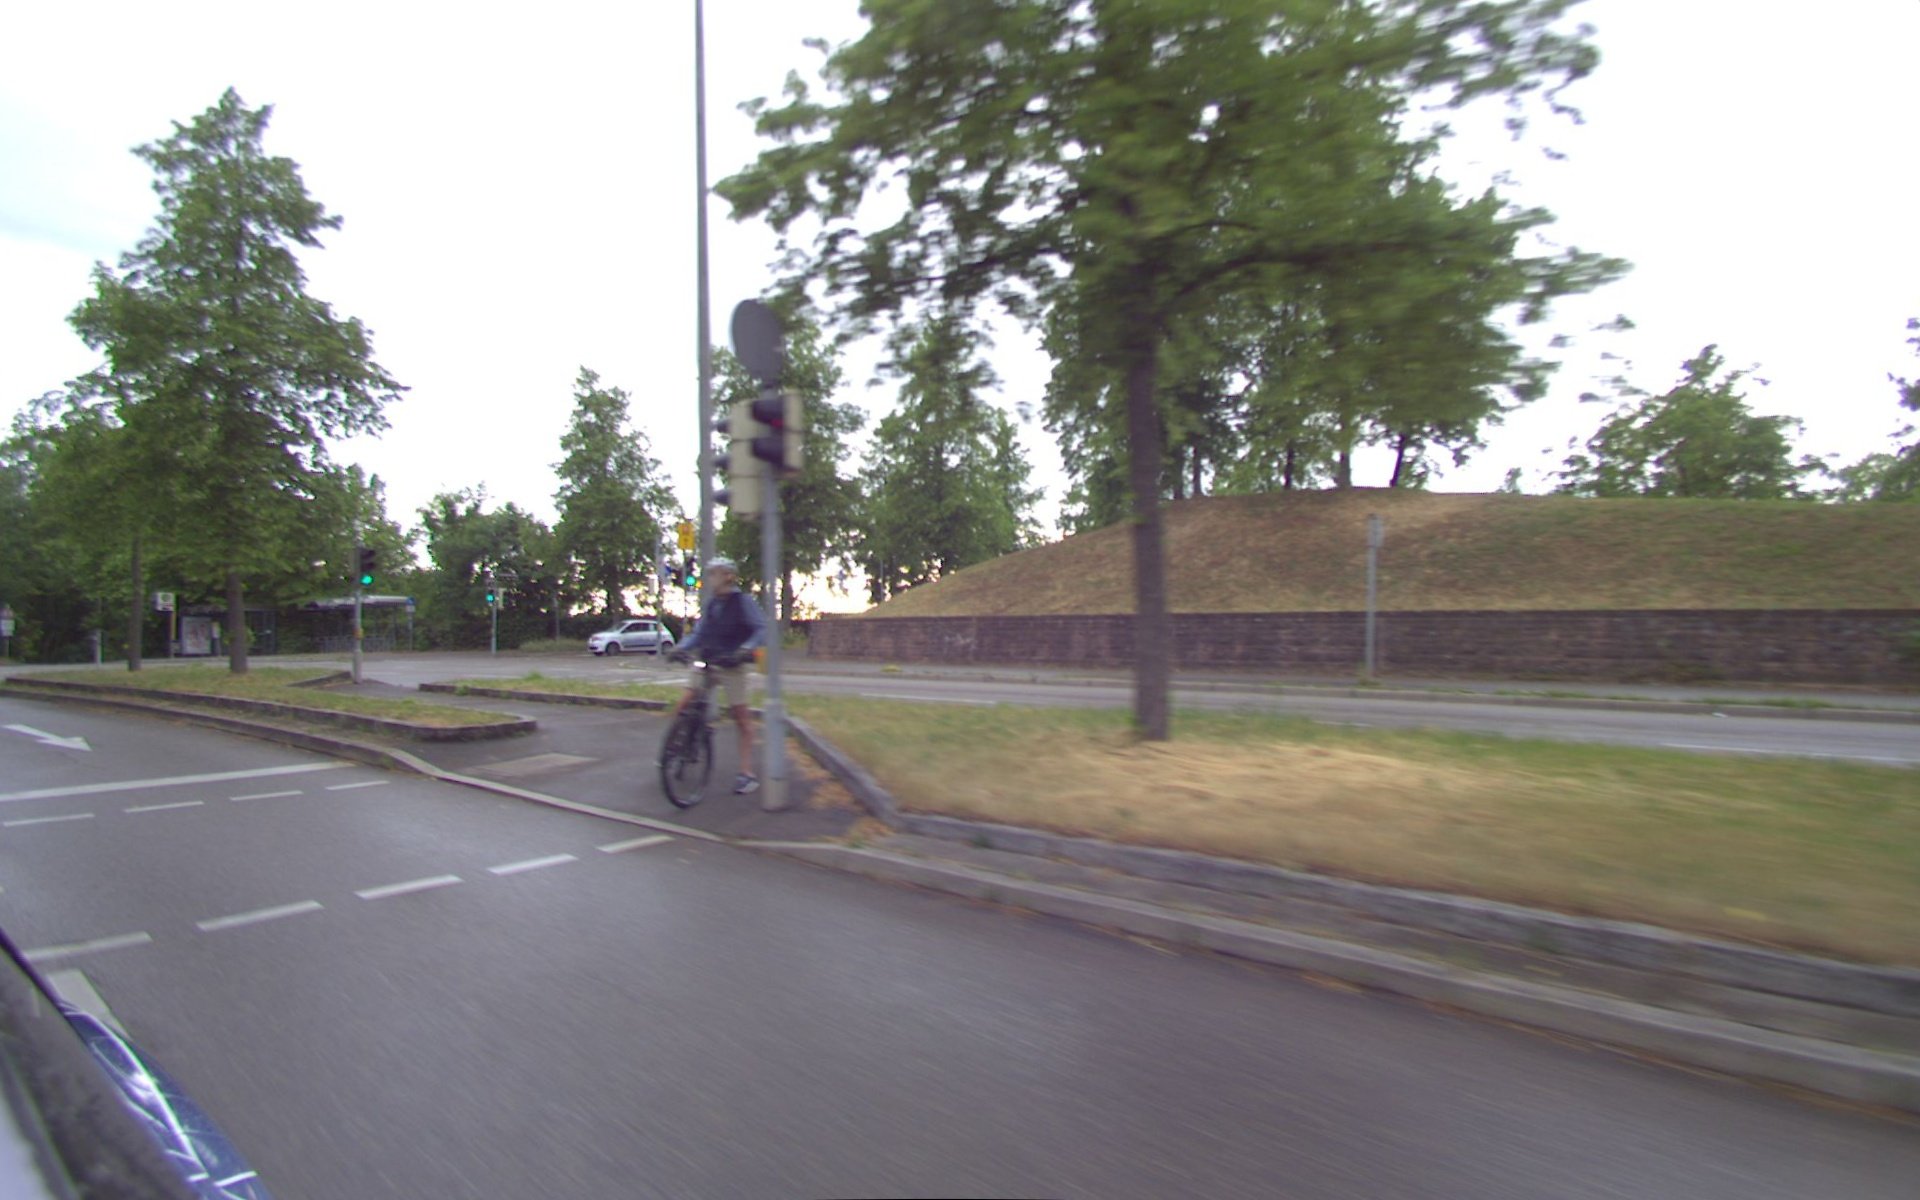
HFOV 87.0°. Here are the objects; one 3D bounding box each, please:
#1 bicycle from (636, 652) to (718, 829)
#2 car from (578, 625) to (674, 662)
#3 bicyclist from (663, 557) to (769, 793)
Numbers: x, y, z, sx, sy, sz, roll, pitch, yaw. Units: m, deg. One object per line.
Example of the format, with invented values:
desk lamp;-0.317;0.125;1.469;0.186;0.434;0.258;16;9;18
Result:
bicycle;-2.266;1.034;8.142;0.544;1.151;2.146;0;-1;-15
car;-14.623;1.876;44.360;3.639;1.489;1.765;0;-1;-39
bicyclist;-1.948;0.576;8.046;0.713;1.765;0.803;2;-1;-15
